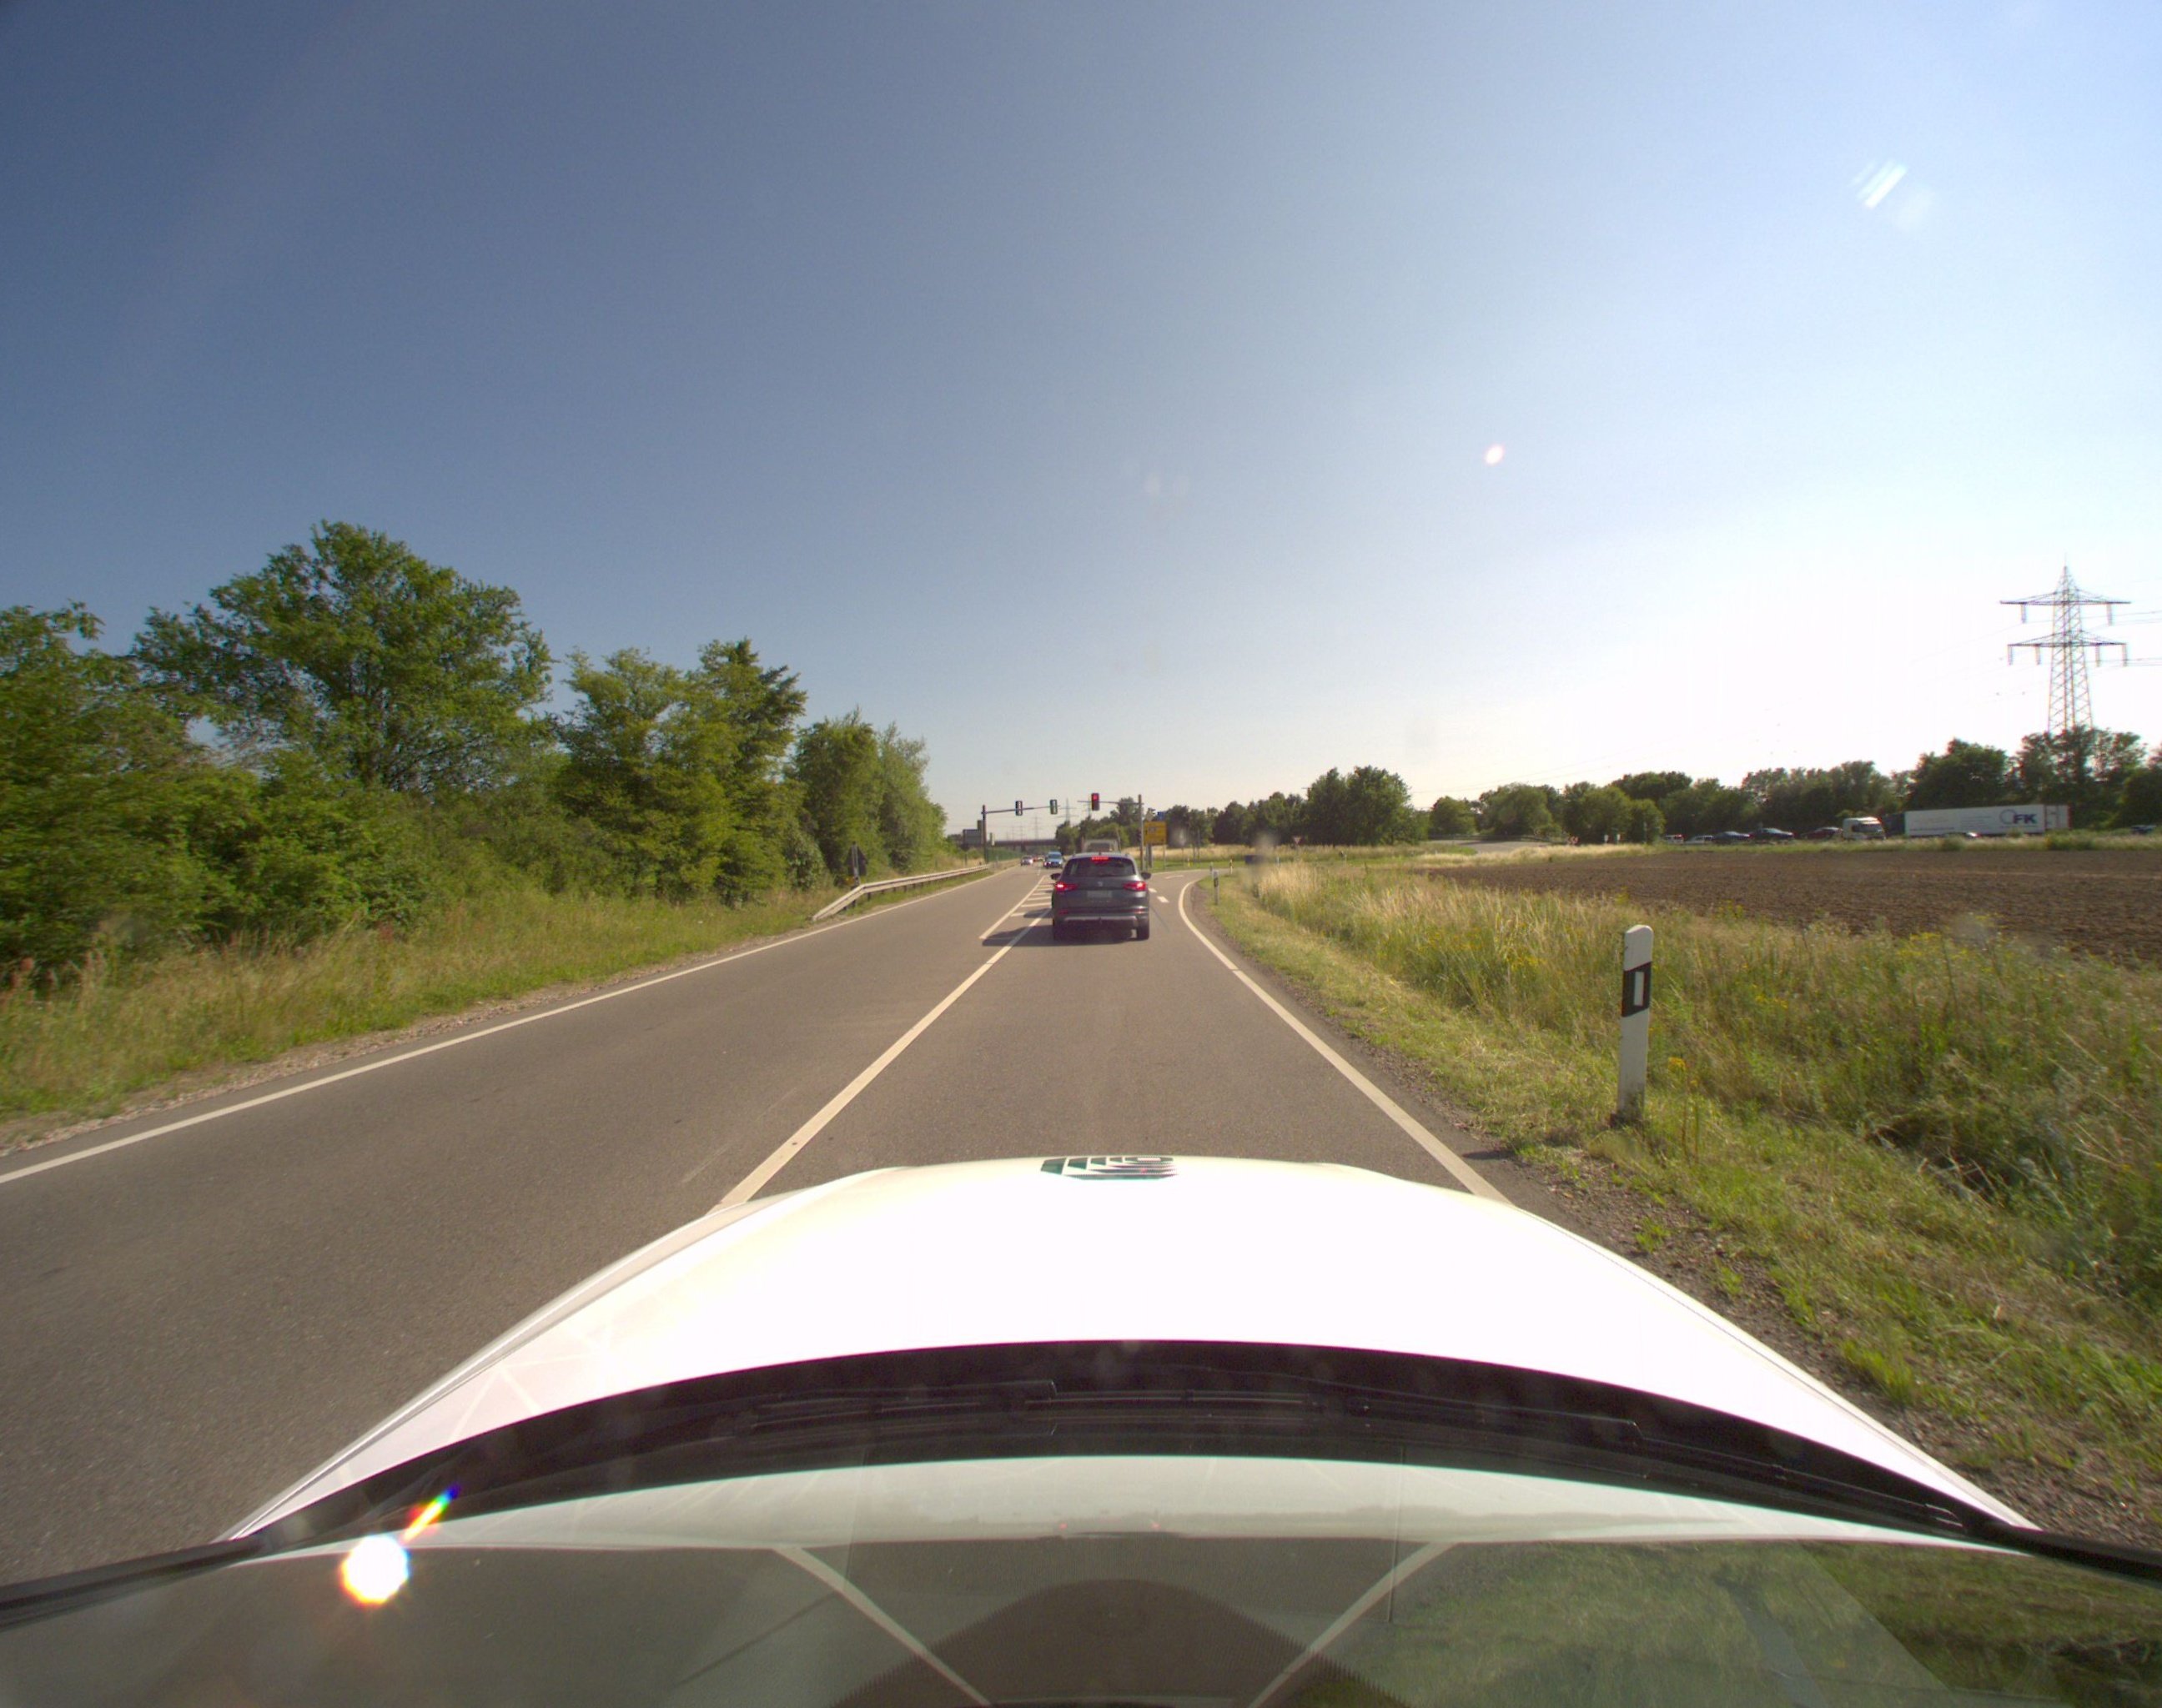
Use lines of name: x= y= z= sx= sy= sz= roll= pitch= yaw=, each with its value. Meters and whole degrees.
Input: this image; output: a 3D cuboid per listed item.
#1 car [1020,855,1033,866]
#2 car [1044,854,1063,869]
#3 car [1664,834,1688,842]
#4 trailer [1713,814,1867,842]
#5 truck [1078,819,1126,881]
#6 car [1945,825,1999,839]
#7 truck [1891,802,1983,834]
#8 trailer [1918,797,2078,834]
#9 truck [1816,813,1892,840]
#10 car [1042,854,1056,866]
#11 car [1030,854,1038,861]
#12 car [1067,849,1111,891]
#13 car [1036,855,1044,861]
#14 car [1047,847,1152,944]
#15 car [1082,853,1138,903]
car: x=-7.931 y=0.925 z=118.176 sx=1.821 sy=1.431 sz=3.994 roll=-2 pitch=0 yaw=-4
car: x=-2.954 y=0.764 z=87.034 sx=1.812 sy=1.540 sz=3.995 roll=-2 pitch=0 yaw=-4
car: x=91.912 y=-2.481 z=125.920 sx=1.390 sy=1.151 sz=3.181 roll=0 pitch=1 yaw=0
trailer: x=80.246 y=-2.817 z=93.099 sx=2.505 sy=2.531 sz=17.077 roll=-2 pitch=0 yaw=-1
truck: x=1.086 y=-0.170 z=43.102 sx=2.329 sy=3.066 sz=5.810 roll=-1 pitch=-1 yaw=1
car: x=94.095 y=-2.270 z=86.030 sx=1.765 sy=1.372 sz=3.625 roll=0 pitch=0 yaw=1
truck: x=99.890 y=-4.098 z=95.182 sx=3.275 sy=3.267 sz=6.976 roll=-2 pitch=0 yaw=-1
trailer: x=100.017 y=-4.117 z=89.360 sx=3.275 sy=3.267 sz=12.450 roll=-2 pitch=0 yaw=-1
truck: x=80.408 y=-2.786 z=84.833 sx=2.506 sy=2.531 sz=5.532 roll=-2 pitch=0 yaw=-1
car: x=-3.961 y=0.748 z=99.708 sx=1.680 sy=1.380 sz=3.529 roll=-1 pitch=0 yaw=-3
car: x=-10.289 y=0.760 z=177.986 sx=1.758 sy=1.431 sz=3.994 roll=-2 pitch=0 yaw=-4
car: x=0.340 y=0.663 z=35.479 sx=1.780 sy=1.675 sz=3.999 roll=-2 pitch=0 yaw=0
car: x=-9.462 y=0.938 z=186.243 sx=1.758 sy=1.334 sz=3.994 roll=-2 pitch=0 yaw=-4
car: x=0.326 y=0.712 z=16.132 sx=1.780 sy=1.629 sz=3.999 roll=-2 pitch=0 yaw=0
car: x=0.936 y=0.775 z=28.400 sx=1.780 sy=1.543 sz=3.999 roll=-2 pitch=0 yaw=0
